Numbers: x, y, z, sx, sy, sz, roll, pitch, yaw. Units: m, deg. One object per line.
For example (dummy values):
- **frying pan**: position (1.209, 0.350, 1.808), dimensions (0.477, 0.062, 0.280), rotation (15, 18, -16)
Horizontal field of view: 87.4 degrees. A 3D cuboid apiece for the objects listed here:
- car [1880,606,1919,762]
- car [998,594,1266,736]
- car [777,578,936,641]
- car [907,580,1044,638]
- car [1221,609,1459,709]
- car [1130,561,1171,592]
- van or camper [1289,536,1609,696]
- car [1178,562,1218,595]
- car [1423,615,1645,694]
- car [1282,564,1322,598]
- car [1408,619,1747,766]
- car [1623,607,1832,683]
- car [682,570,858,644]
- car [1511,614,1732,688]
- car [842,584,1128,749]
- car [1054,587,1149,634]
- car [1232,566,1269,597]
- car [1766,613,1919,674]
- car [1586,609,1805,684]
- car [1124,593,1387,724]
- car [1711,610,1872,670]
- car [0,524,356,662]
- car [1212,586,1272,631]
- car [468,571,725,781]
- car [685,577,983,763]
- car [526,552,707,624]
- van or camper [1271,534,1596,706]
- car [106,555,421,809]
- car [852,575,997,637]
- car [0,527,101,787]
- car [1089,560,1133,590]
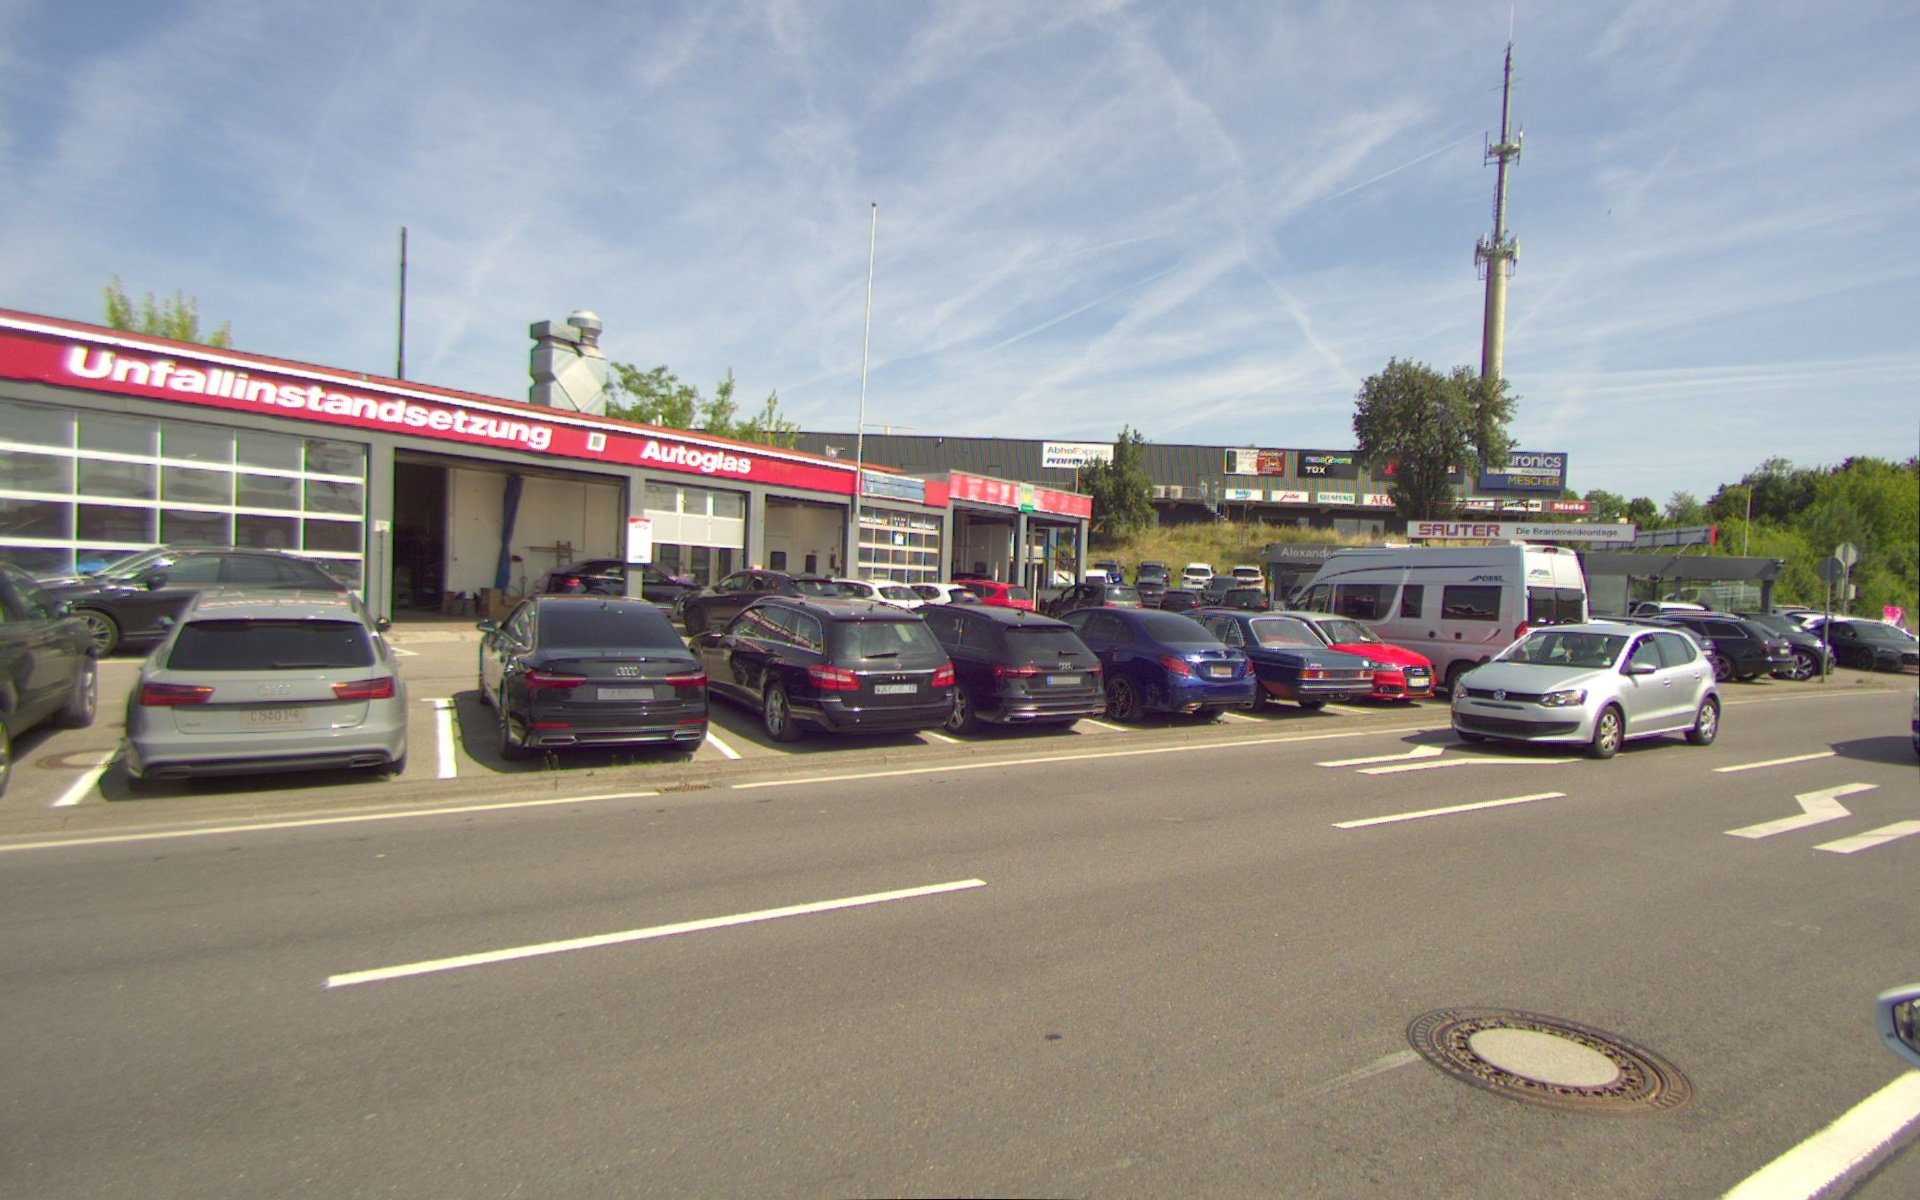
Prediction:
- **car**: position (12.500, 0.947, 11.423), dimensions (4.132, 1.685, 1.900), rotation (1, -1, -30)
- **car**: position (2.275, 0.781, 14.170), dimensions (1.689, 1.577, 3.686), rotation (0, 3, -32)
- **car**: position (-2.650, 0.211, 25.400), dimensions (3.767, 1.451, 1.763), rotation (1, 0, 36)
- **car**: position (0.449, 0.237, 30.040), dimensions (3.767, 1.609, 1.763), rotation (1, 0, 36)
- **car**: position (6.508, 0.944, 17.547), dimensions (1.791, 1.500, 3.577), rotation (1, 0, -30)
- **car**: position (10.225, -1.246, 53.739), dimensions (1.702, 1.470, 3.750), rotation (2, 0, 18)
- **van or camper**: position (10.115, 0.251, 21.417), dimensions (2.262, 2.912, 5.864), rotation (1, 1, -30)
- **car**: position (12.584, -1.117, 52.931), dimensions (1.702, 1.558, 3.750), rotation (2, 0, 18)
- **car**: position (12.385, 1.121, 21.901), dimensions (1.822, 1.467, 3.796), rotation (1, 0, -32)
- **car**: position (16.239, -0.862, 47.808), dimensions (1.702, 1.470, 3.750), rotation (2, 0, 18)
- **car**: position (7.520, 1.011, 12.169), dimensions (4.033, 1.467, 1.828), rotation (1, 0, -30)
- **car**: position (19.223, 1.066, 25.317), dimensions (1.822, 1.697, 3.796), rotation (1, 0, -32)
- **car**: position (-4.369, 0.133, 22.887), dimensions (3.886, 1.553, 1.763), rotation (1, 0, 36)
- **car**: position (14.909, 1.096, 22.838), dimensions (1.822, 1.467, 3.796), rotation (1, 0, -32)
- **car**: position (0.147, 0.705, 12.801), dimensions (1.782, 1.505, 3.822), rotation (1, 4, -32)
- **car**: position (5.112, 0.374, 36.816), dimensions (1.744, 1.609, 3.808), rotation (1, 0, -23)
- **car**: position (15.044, -0.928, 51.956), dimensions (1.702, 1.470, 3.750), rotation (2, 0, 18)
- **car**: position (28.095, 1.297, 31.435), dimensions (2.090, 1.716, 4.528), rotation (1, 0, 0)
- **car**: position (17.382, 1.042, 23.897), dimensions (1.822, 1.560, 3.796), rotation (1, 0, -32)
- **car**: position (4.477, 0.807, 15.706), dimensions (1.689, 1.505, 3.686), rotation (1, 4, -32)
- **car**: position (26.070, 1.212, 31.657), dimensions (1.807, 1.716, 3.828), rotation (1, 0, -2)
- **car**: position (-11.910, -0.067, 15.376), dimensions (1.797, 1.696, 4.116), rotation (8, 3, 34)
- **car**: position (10.693, 0.322, 38.367), dimensions (1.733, 1.609, 3.831), rotation (1, 0, 9)
- **car**: position (-4.017, 0.602, 10.597), dimensions (1.777, 1.505, 4.276), rotation (1, 4, -30)
- **car**: position (-1.706, 0.639, 11.876), dimensions (1.752, 1.505, 4.433), rotation (1, 4, -32)
- **car**: position (-8.748, -0.264, 25.766), dimensions (3.987, 1.694, 1.887), rotation (1, 0, -43)
- **van or camper**: position (8.672, 0.302, 18.982), dimensions (2.184, 2.768, 5.221), rotation (1, 1, -29)
- **car**: position (-5.975, 0.482, 8.898), dimensions (1.816, 1.505, 4.252), rotation (1, 4, -32)
- **car**: position (-1.019, 0.140, 27.968), dimensions (3.767, 1.609, 1.763), rotation (1, 0, 36)
- **car**: position (-8.123, 0.341, 7.627), dimensions (1.786, 1.740, 3.865), rotation (1, 4, -31)
- **car**: position (8.198, -1.319, 54.300), dimensions (1.702, 1.470, 3.750), rotation (2, 0, 18)
